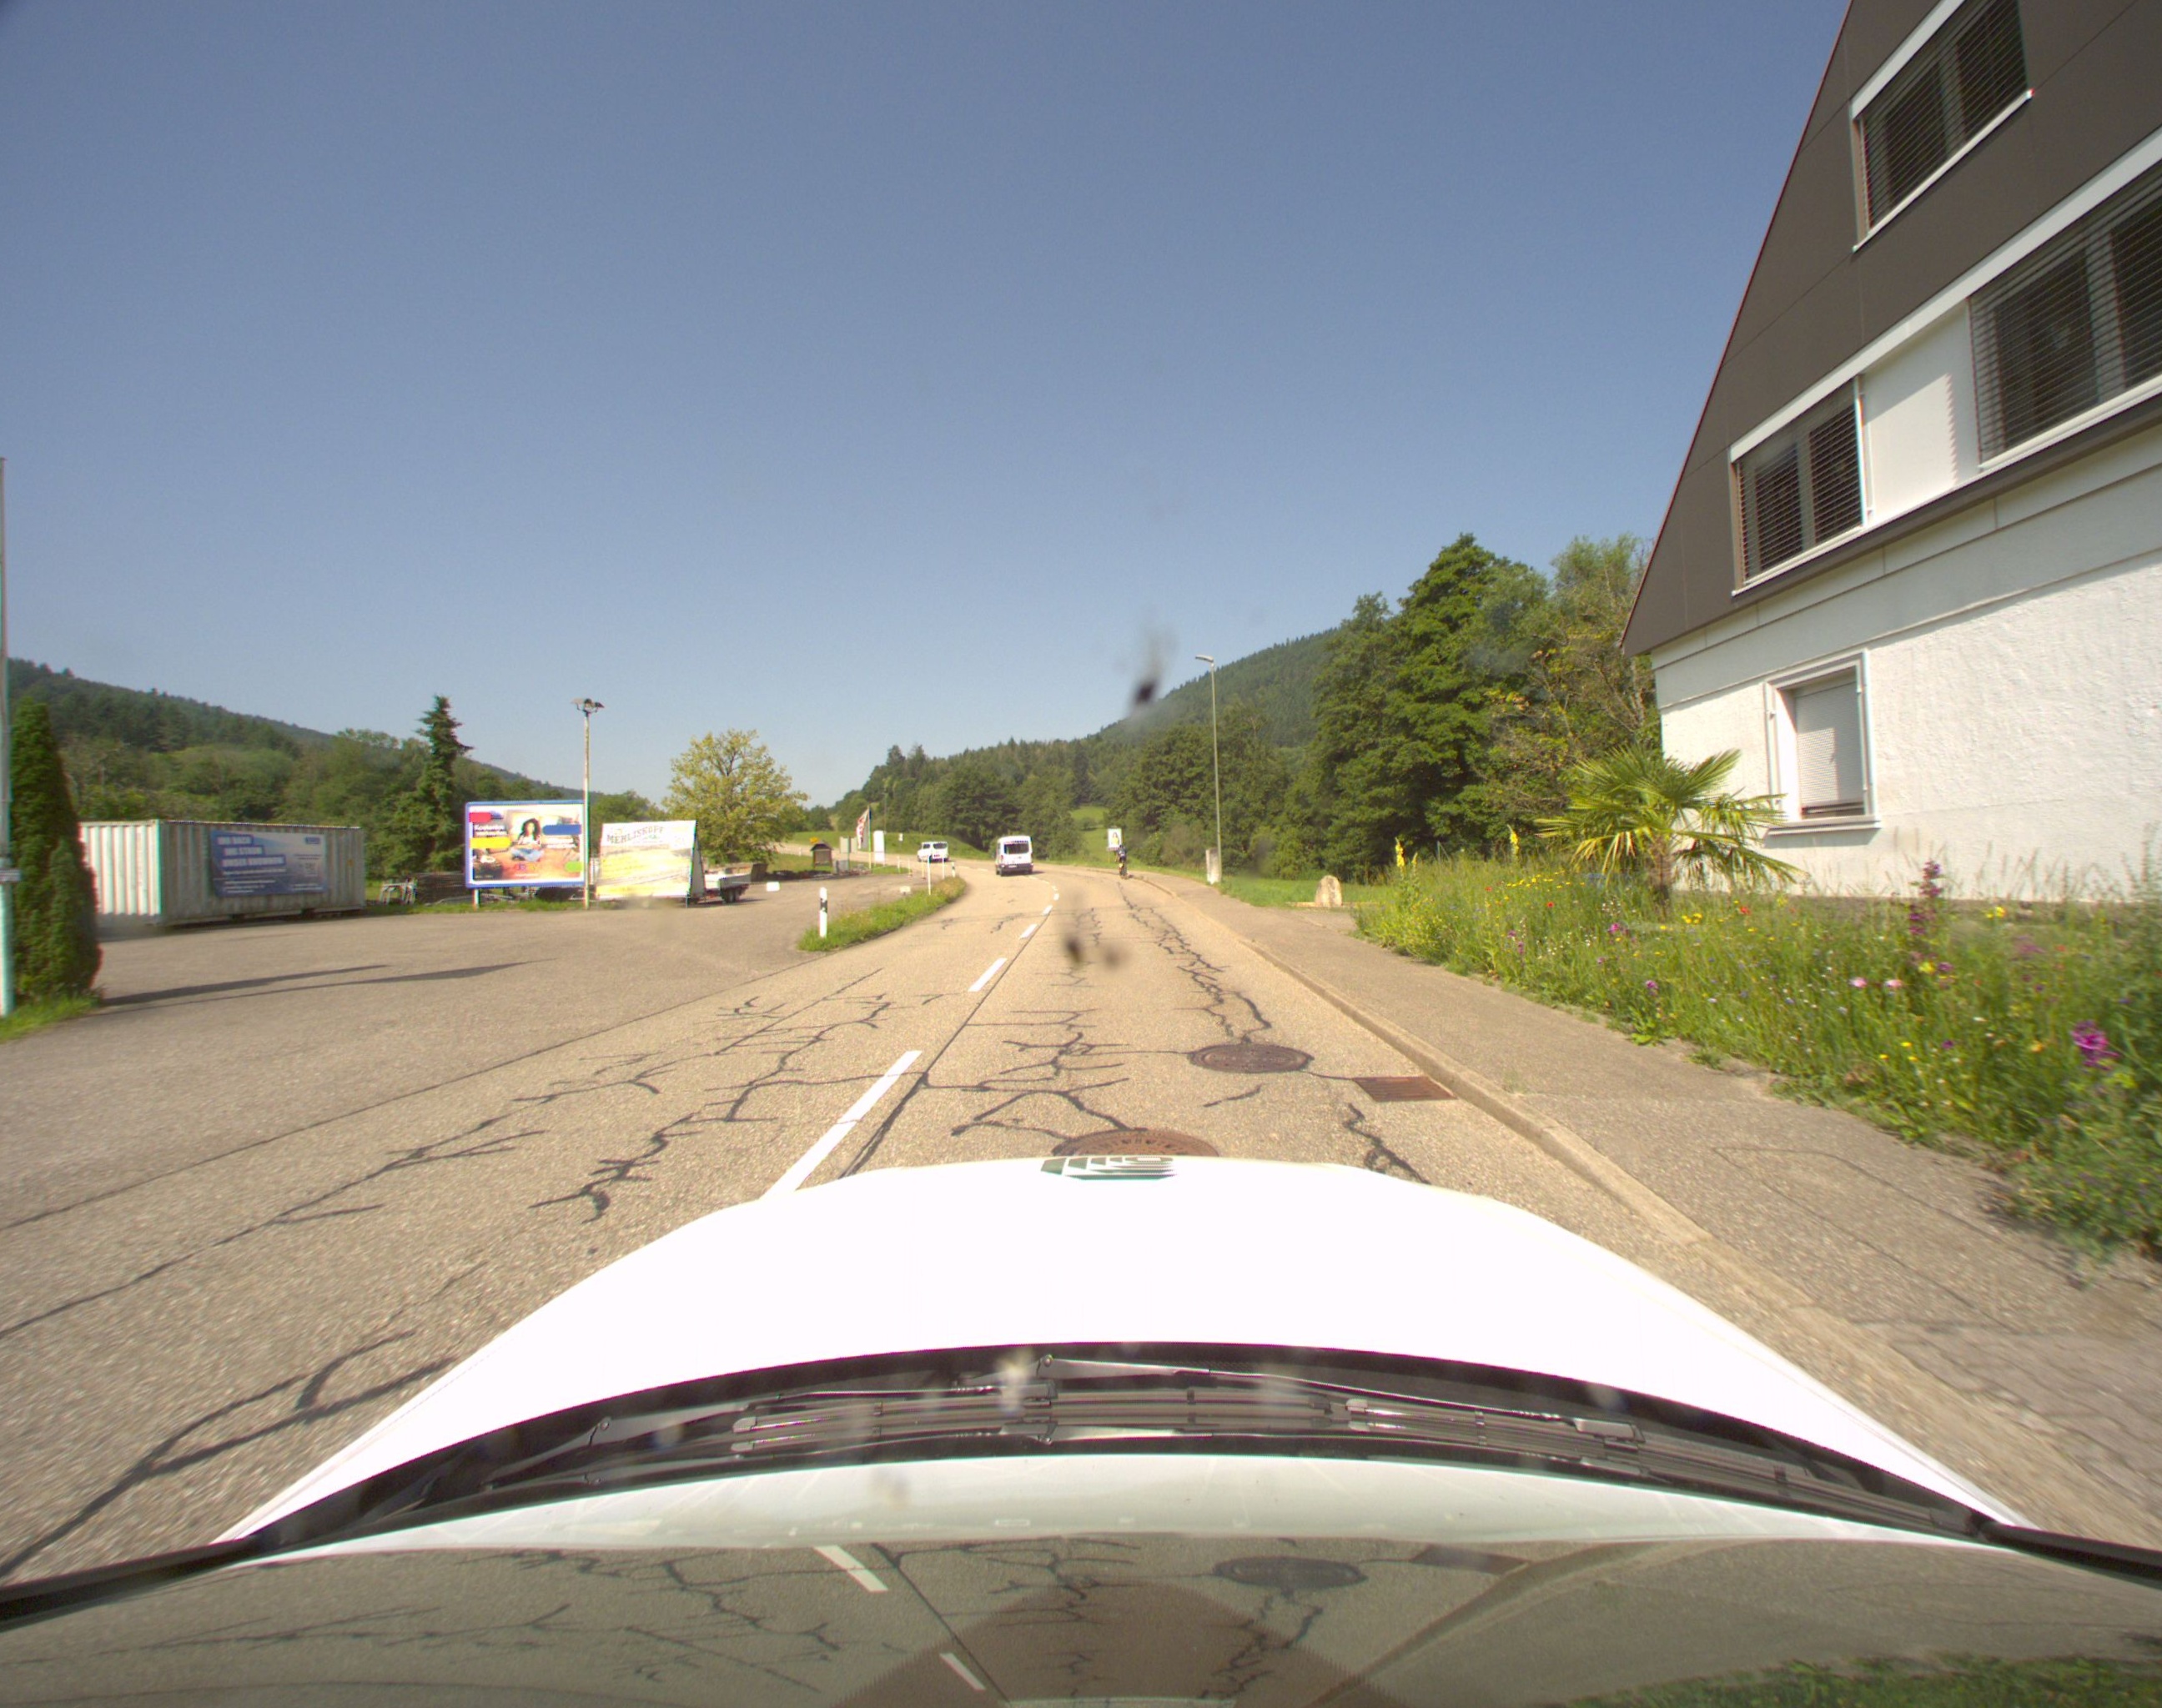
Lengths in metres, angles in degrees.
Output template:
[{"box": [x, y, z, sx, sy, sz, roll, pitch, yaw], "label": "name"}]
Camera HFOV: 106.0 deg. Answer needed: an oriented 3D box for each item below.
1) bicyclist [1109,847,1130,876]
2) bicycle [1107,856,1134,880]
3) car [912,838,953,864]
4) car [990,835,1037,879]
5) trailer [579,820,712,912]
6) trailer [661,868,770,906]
[{"box": [1.840, 0.346, 39.076, 0.581, 1.342, 1.138, -5, 1, -17], "label": "bicyclist"}, {"box": [1.890, 0.659, 39.029, 0.581, 1.035, 1.979, -5, 1, -17], "label": "bicycle"}, {"box": [-14.560, -0.279, 79.699, 2.238, 2.286, 4.935, -6, 3, -31], "label": "car"}, {"box": [-4.424, 0.133, 52.526, 2.225, 2.525, 4.963, -5, 2, -13], "label": "car"}, {"box": [-14.411, 0.383, 27.122, 3.387, 2.912, 1.880, -1, 0, -6], "label": "trailer"}, {"box": [-14.011, 1.218, 31.644, 1.989, 1.226, 5.539, -1, 0, -3], "label": "trailer"}]
